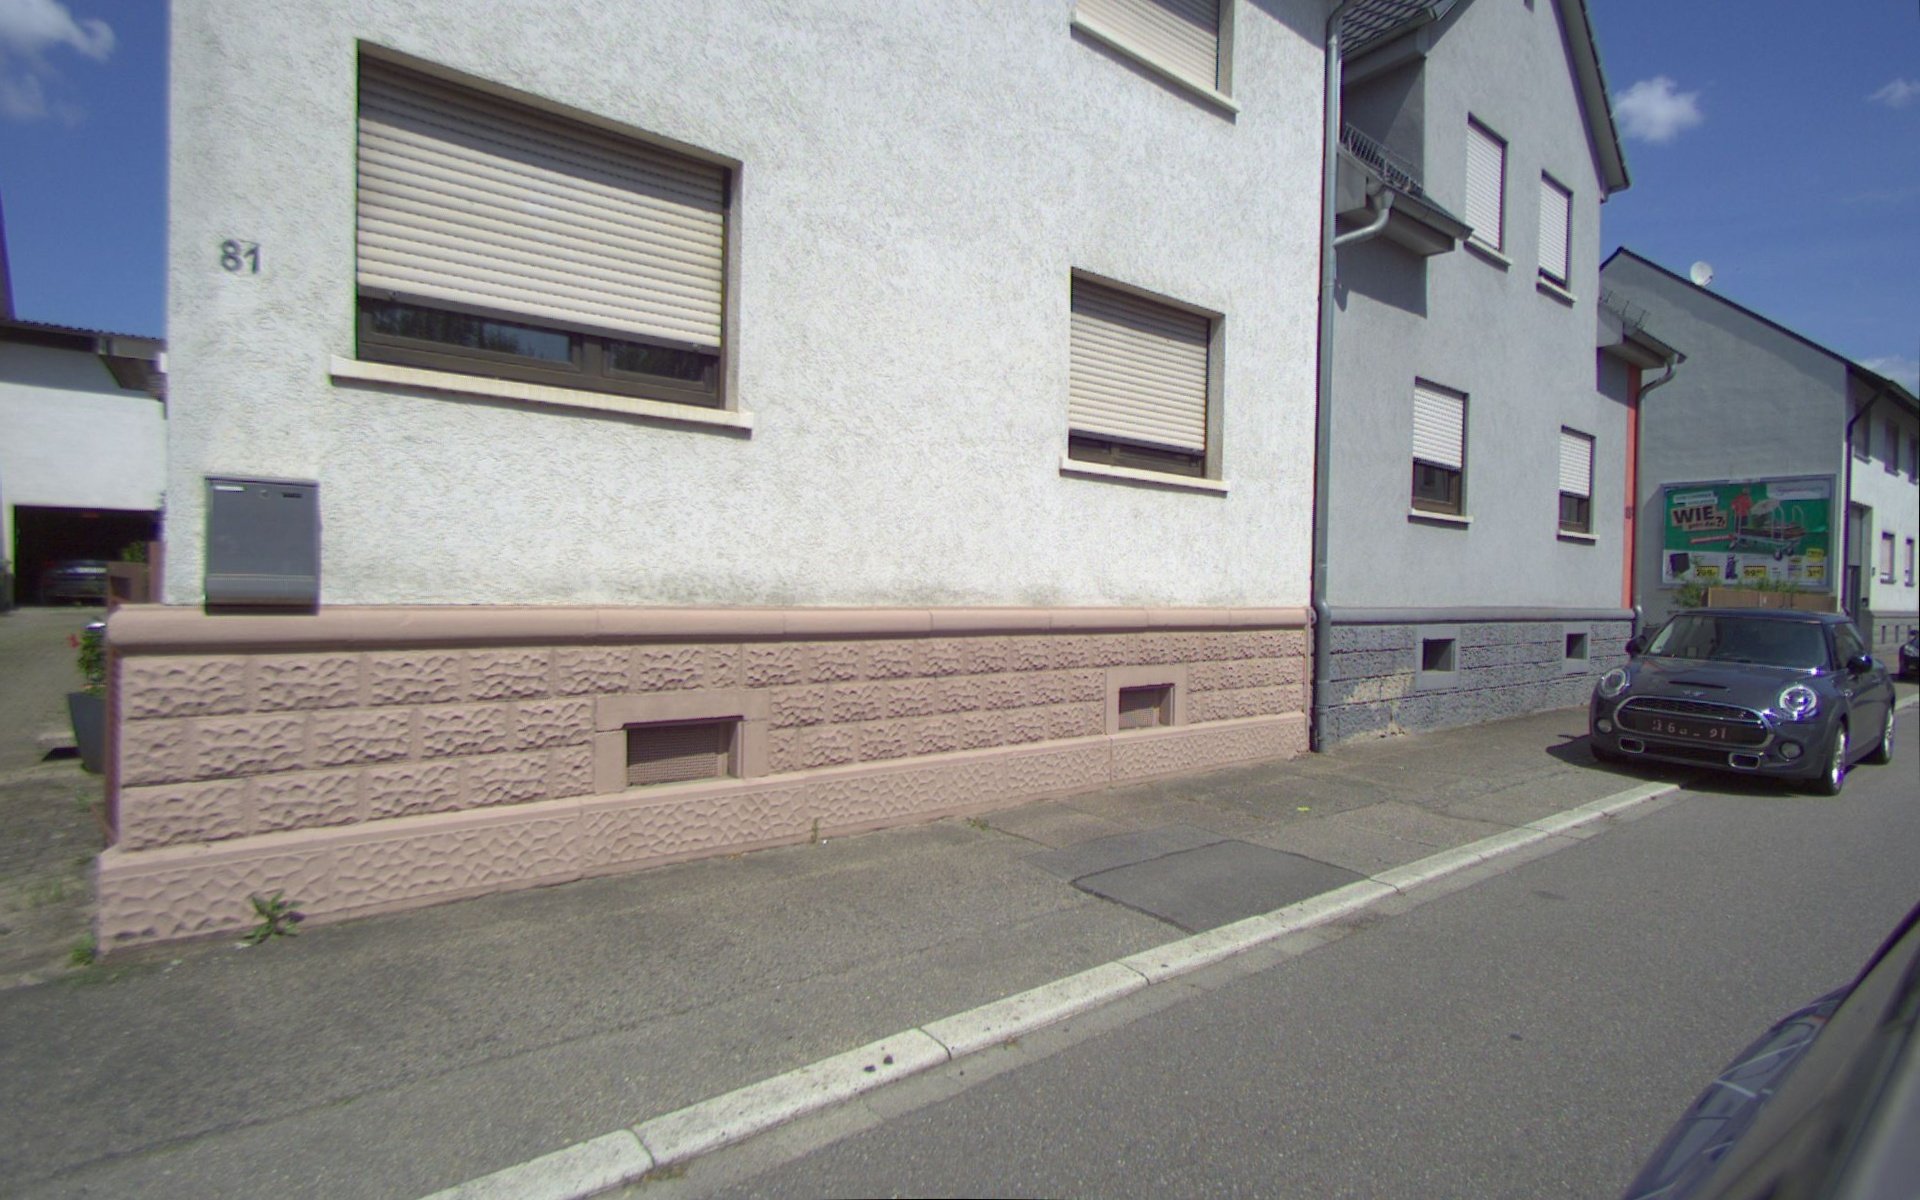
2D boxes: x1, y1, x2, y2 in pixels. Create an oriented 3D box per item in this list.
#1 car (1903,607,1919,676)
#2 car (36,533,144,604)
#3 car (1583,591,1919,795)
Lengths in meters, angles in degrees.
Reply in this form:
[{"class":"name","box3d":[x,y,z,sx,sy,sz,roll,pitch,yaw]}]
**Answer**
[{"class":"car","box3d":[19.999,0.811,19.719,4.072,1.291,1.820,0,1,-39]},{"class":"car","box3d":[-20.158,-0.713,23.572,1.538,1.505,4.000,0,1,-35]},{"class":"car","box3d":[7.265,0.677,9.165,3.591,1.440,1.692,0,1,-40]}]
